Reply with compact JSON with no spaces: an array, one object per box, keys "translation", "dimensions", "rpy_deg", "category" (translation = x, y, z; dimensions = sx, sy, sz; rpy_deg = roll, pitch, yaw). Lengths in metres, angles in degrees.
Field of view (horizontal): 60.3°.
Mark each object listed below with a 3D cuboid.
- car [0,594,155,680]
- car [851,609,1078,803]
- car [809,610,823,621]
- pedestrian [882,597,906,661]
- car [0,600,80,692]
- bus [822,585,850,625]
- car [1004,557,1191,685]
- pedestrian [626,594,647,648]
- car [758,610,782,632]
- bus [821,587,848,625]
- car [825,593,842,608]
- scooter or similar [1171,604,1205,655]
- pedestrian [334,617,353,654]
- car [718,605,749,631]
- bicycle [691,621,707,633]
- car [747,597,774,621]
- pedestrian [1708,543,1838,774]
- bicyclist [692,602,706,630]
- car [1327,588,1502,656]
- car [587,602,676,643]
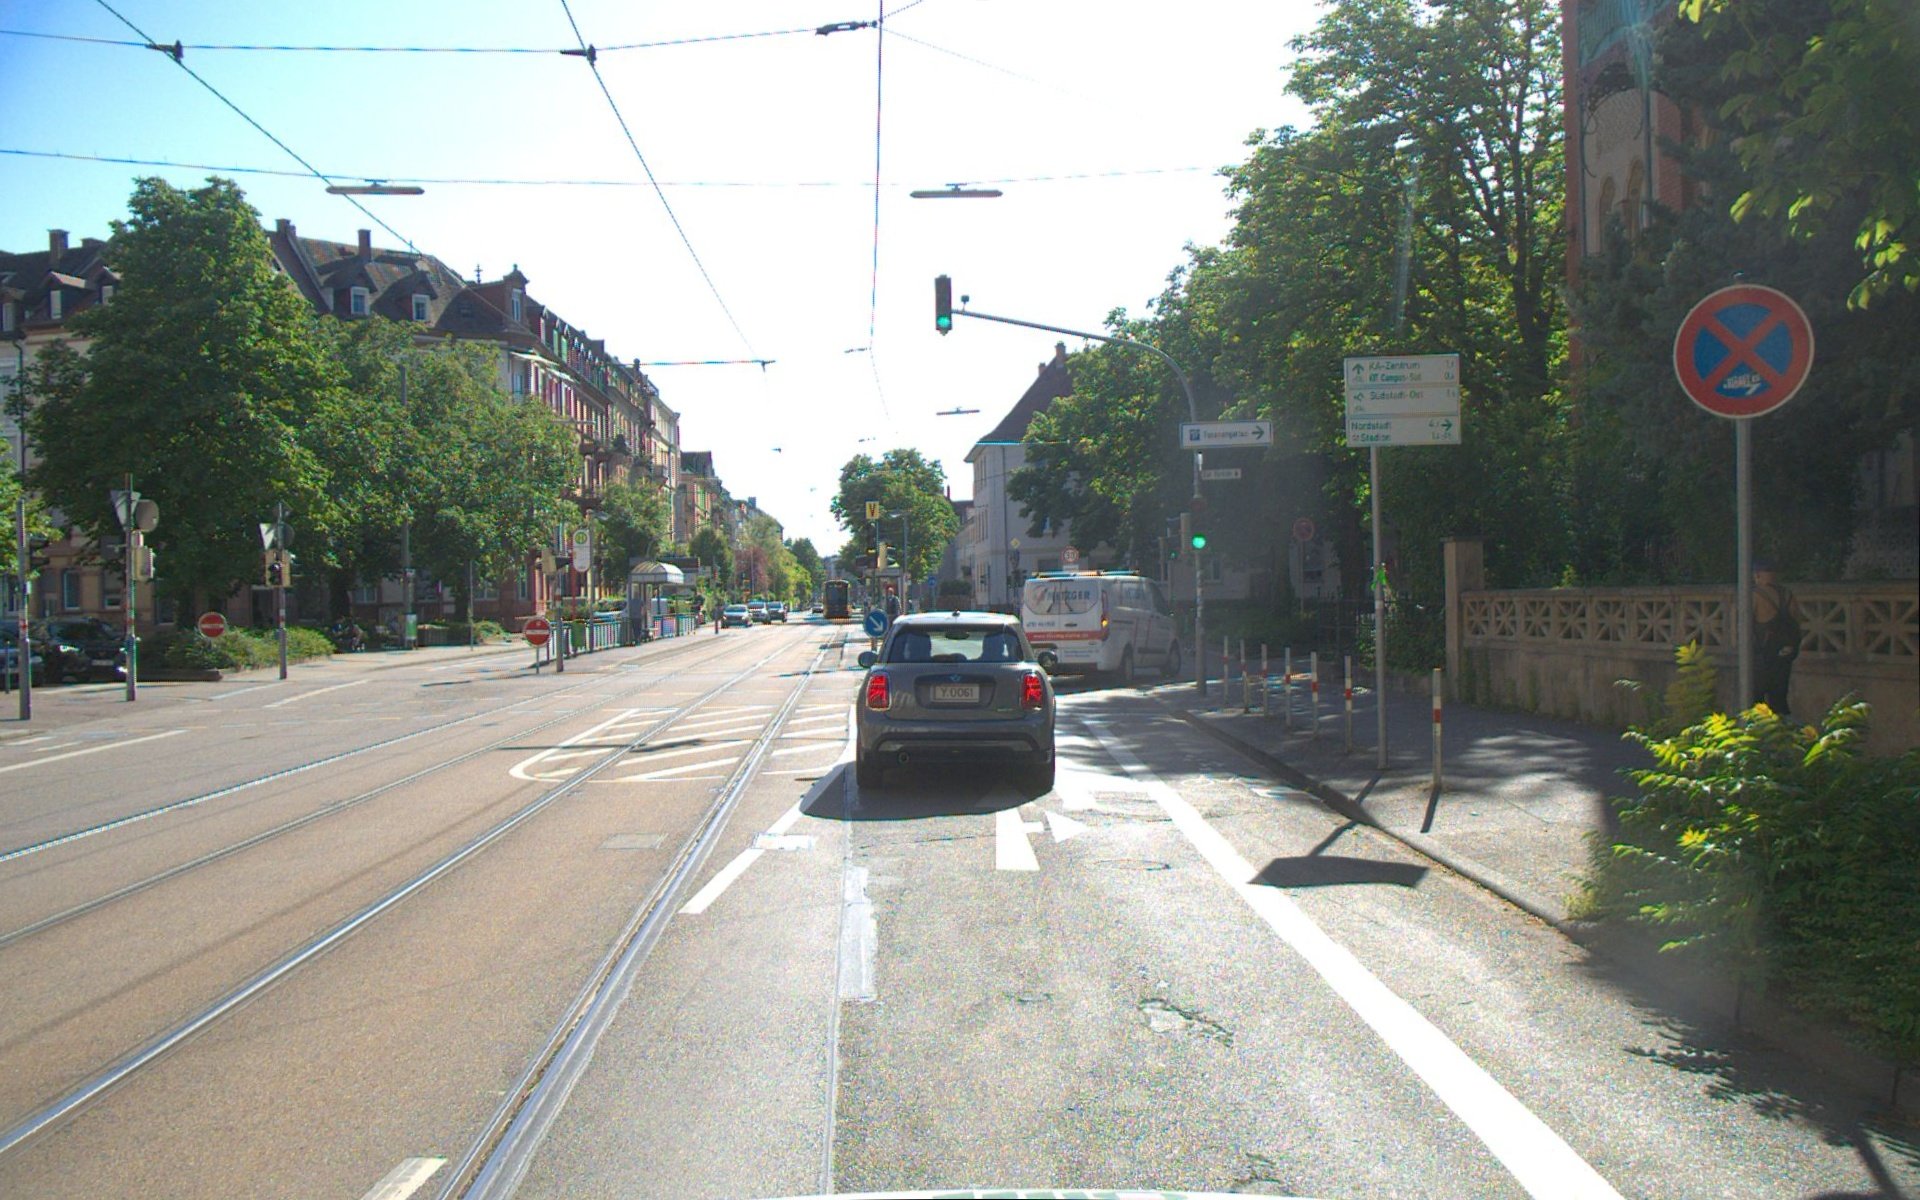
[{"translation":[-22.139,0.905,41.008],"dimensions":[3.909,2.049,1.998],"rpy_deg":[-1,-1,27],"category":"car"},{"translation":[-0.014,0.854,14.991],"dimensions":[1.779,1.514,3.998],"rpy_deg":[0,-1,-2],"category":"car"},{"translation":[-20.405,2.182,235.083],"dimensions":[1.954,1.624,3.996],"rpy_deg":[0,-1,-5],"category":"car"},{"translation":[-2.141,0.930,53.516],"dimensions":[0.779,2.049,0.740],"rpy_deg":[0,-1,-3],"category":"pedestrian"},{"translation":[-22.843,1.059,38.794],"dimensions":[3.909,2.049,1.998],"rpy_deg":[-1,-1,27],"category":"car"},{"translation":[-11.422,0.488,152.108],"dimensions":[2.339,3.558,7.374],"rpy_deg":[0,-1,-6],"category":"bus"},{"translation":[2.733,0.401,31.732],"dimensions":[2.076,2.247,4.942],"rpy_deg":[-1,-1,24],"category":"car"},{"translation":[-11.108,0.732,56.780],"dimensions":[0.569,1.826,0.605],"rpy_deg":[-1,0,-19],"category":"pedestrian"},{"translation":[-14.913,1.649,130.196],"dimensions":[1.741,1.646,3.996],"rpy_deg":[0,-1,-5],"category":"car"},{"translation":[-12.127,0.577,159.474],"dimensions":[2.339,3.558,7.374],"rpy_deg":[0,-1,-6],"category":"bus"},{"translation":[-14.182,0.072,184.970],"dimensions":[1.827,1.591,3.996],"rpy_deg":[0,-1,-5],"category":"car"},{"translation":[6.061,0.787,44.029],"dimensions":[0.662,1.333,1.328],"rpy_deg":[0,-1,-2],"category":"scooter or similar"},{"translation":[-20.924,1.199,56.150],"dimensions":[0.569,1.222,0.604],"rpy_deg":[-2,0,-22],"category":"pedestrian"},{"translation":[-14.624,1.142,106.979],"dimensions":[1.741,1.646,3.996],"rpy_deg":[0,-1,-5],"category":"car"},{"translation":[-16.256,1.670,103.021],"dimensions":[0.704,0.763,1.916],"rpy_deg":[0,-1,0],"category":"bicycle"},{"translation":[-14.183,0.655,117.844],"dimensions":[1.741,1.646,3.996],"rpy_deg":[0,-1,-5],"category":"car"},{"translation":[6.240,0.441,12.718],"dimensions":[0.580,1.700,0.646],"rpy_deg":[-3,-1,-2],"category":"pedestrian"},{"translation":[-16.245,0.992,102.963],"dimensions":[0.699,1.694,0.734],"rpy_deg":[0,-1,0],"category":"bicyclist"},{"translation":[11.405,0.541,41.547],"dimensions":[3.937,1.646,1.984],"rpy_deg":[0,-1,-26],"category":"car"},{"translation":[-17.088,1.177,86.276],"dimensions":[1.954,2.049,5.024],"rpy_deg":[-1,-1,26],"category":"car"}]
